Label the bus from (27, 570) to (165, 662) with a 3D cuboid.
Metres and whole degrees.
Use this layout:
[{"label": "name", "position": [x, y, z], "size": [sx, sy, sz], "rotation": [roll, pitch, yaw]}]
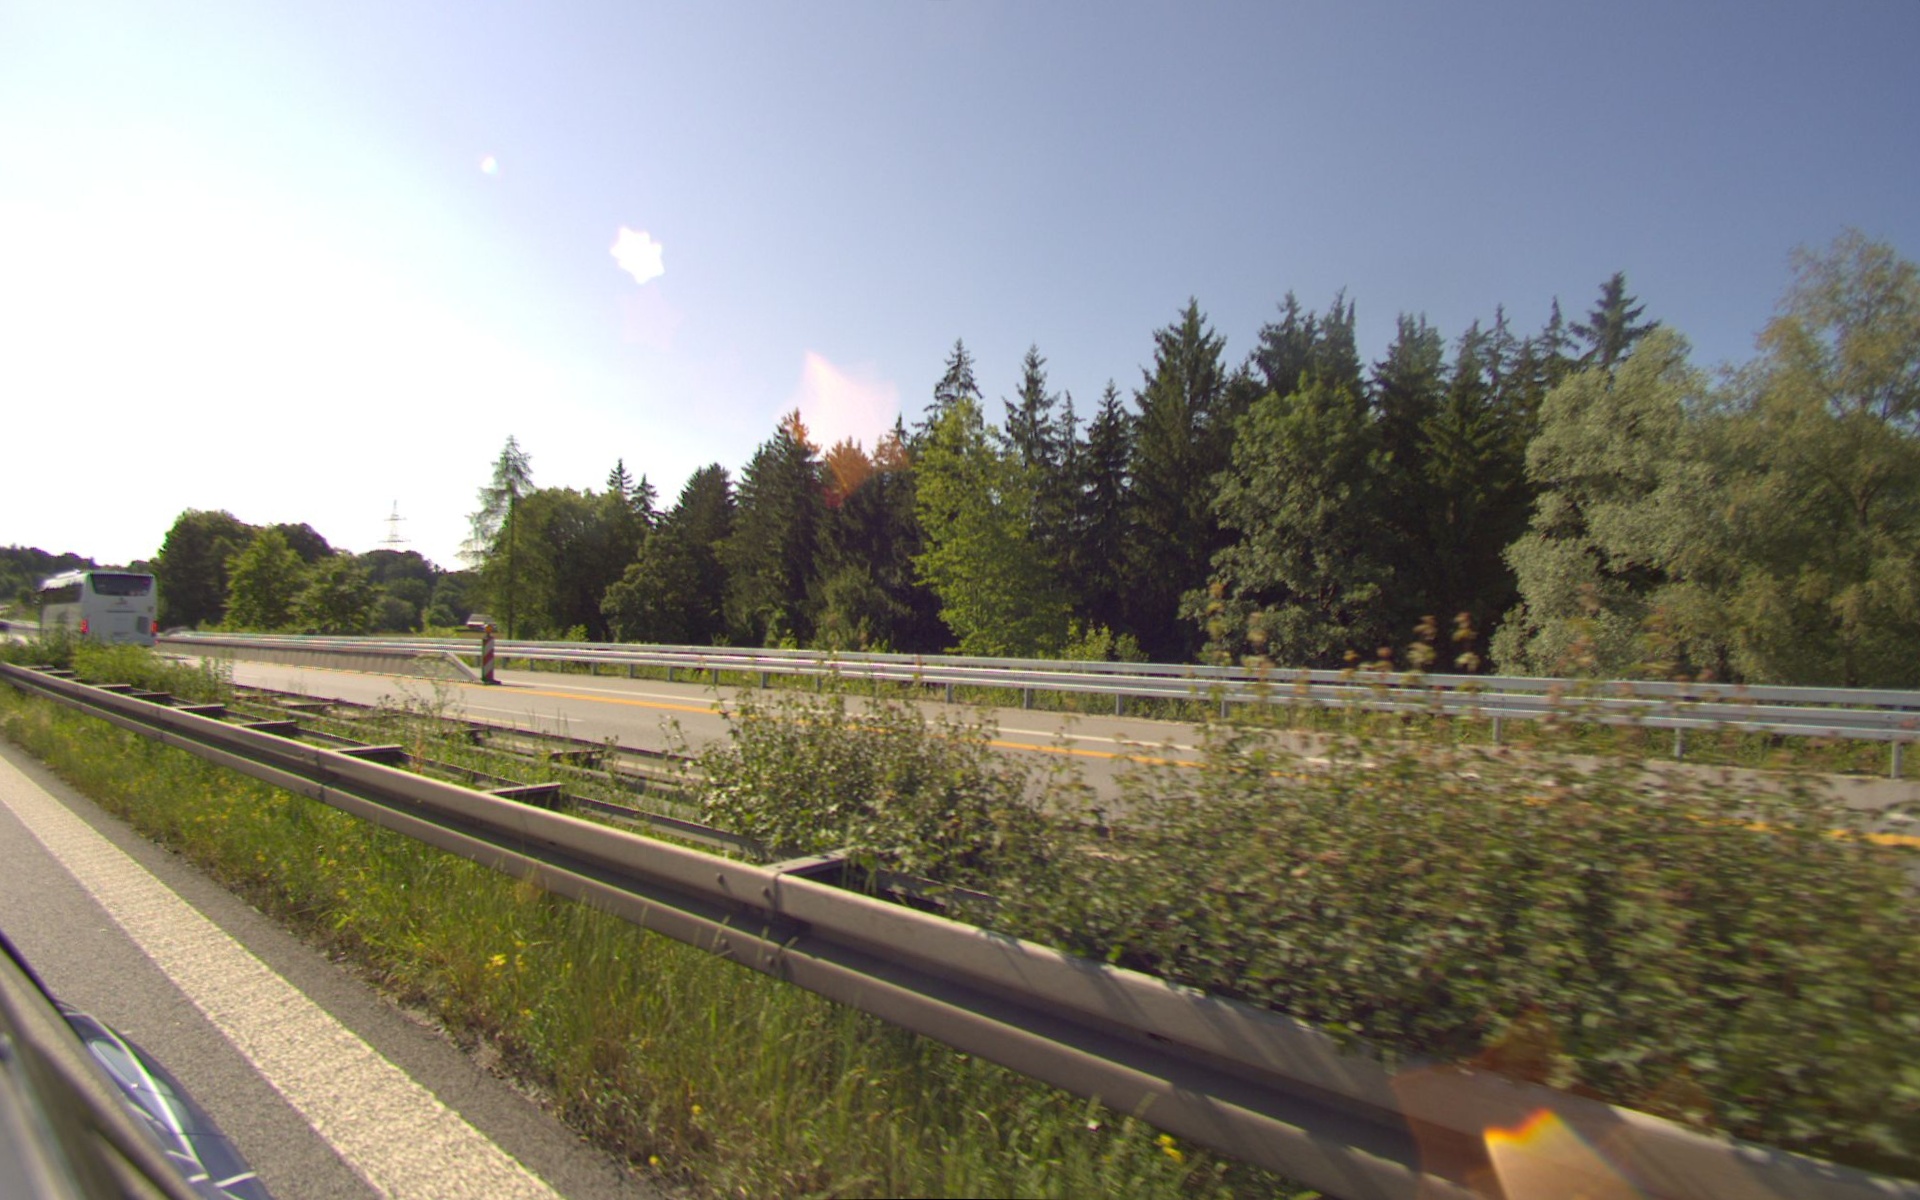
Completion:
[{"label": "bus", "position": [-39.725, 0.757, 46.285], "size": [12.909, 3.699, 2.852], "rotation": [-1, -2, 41]}]
